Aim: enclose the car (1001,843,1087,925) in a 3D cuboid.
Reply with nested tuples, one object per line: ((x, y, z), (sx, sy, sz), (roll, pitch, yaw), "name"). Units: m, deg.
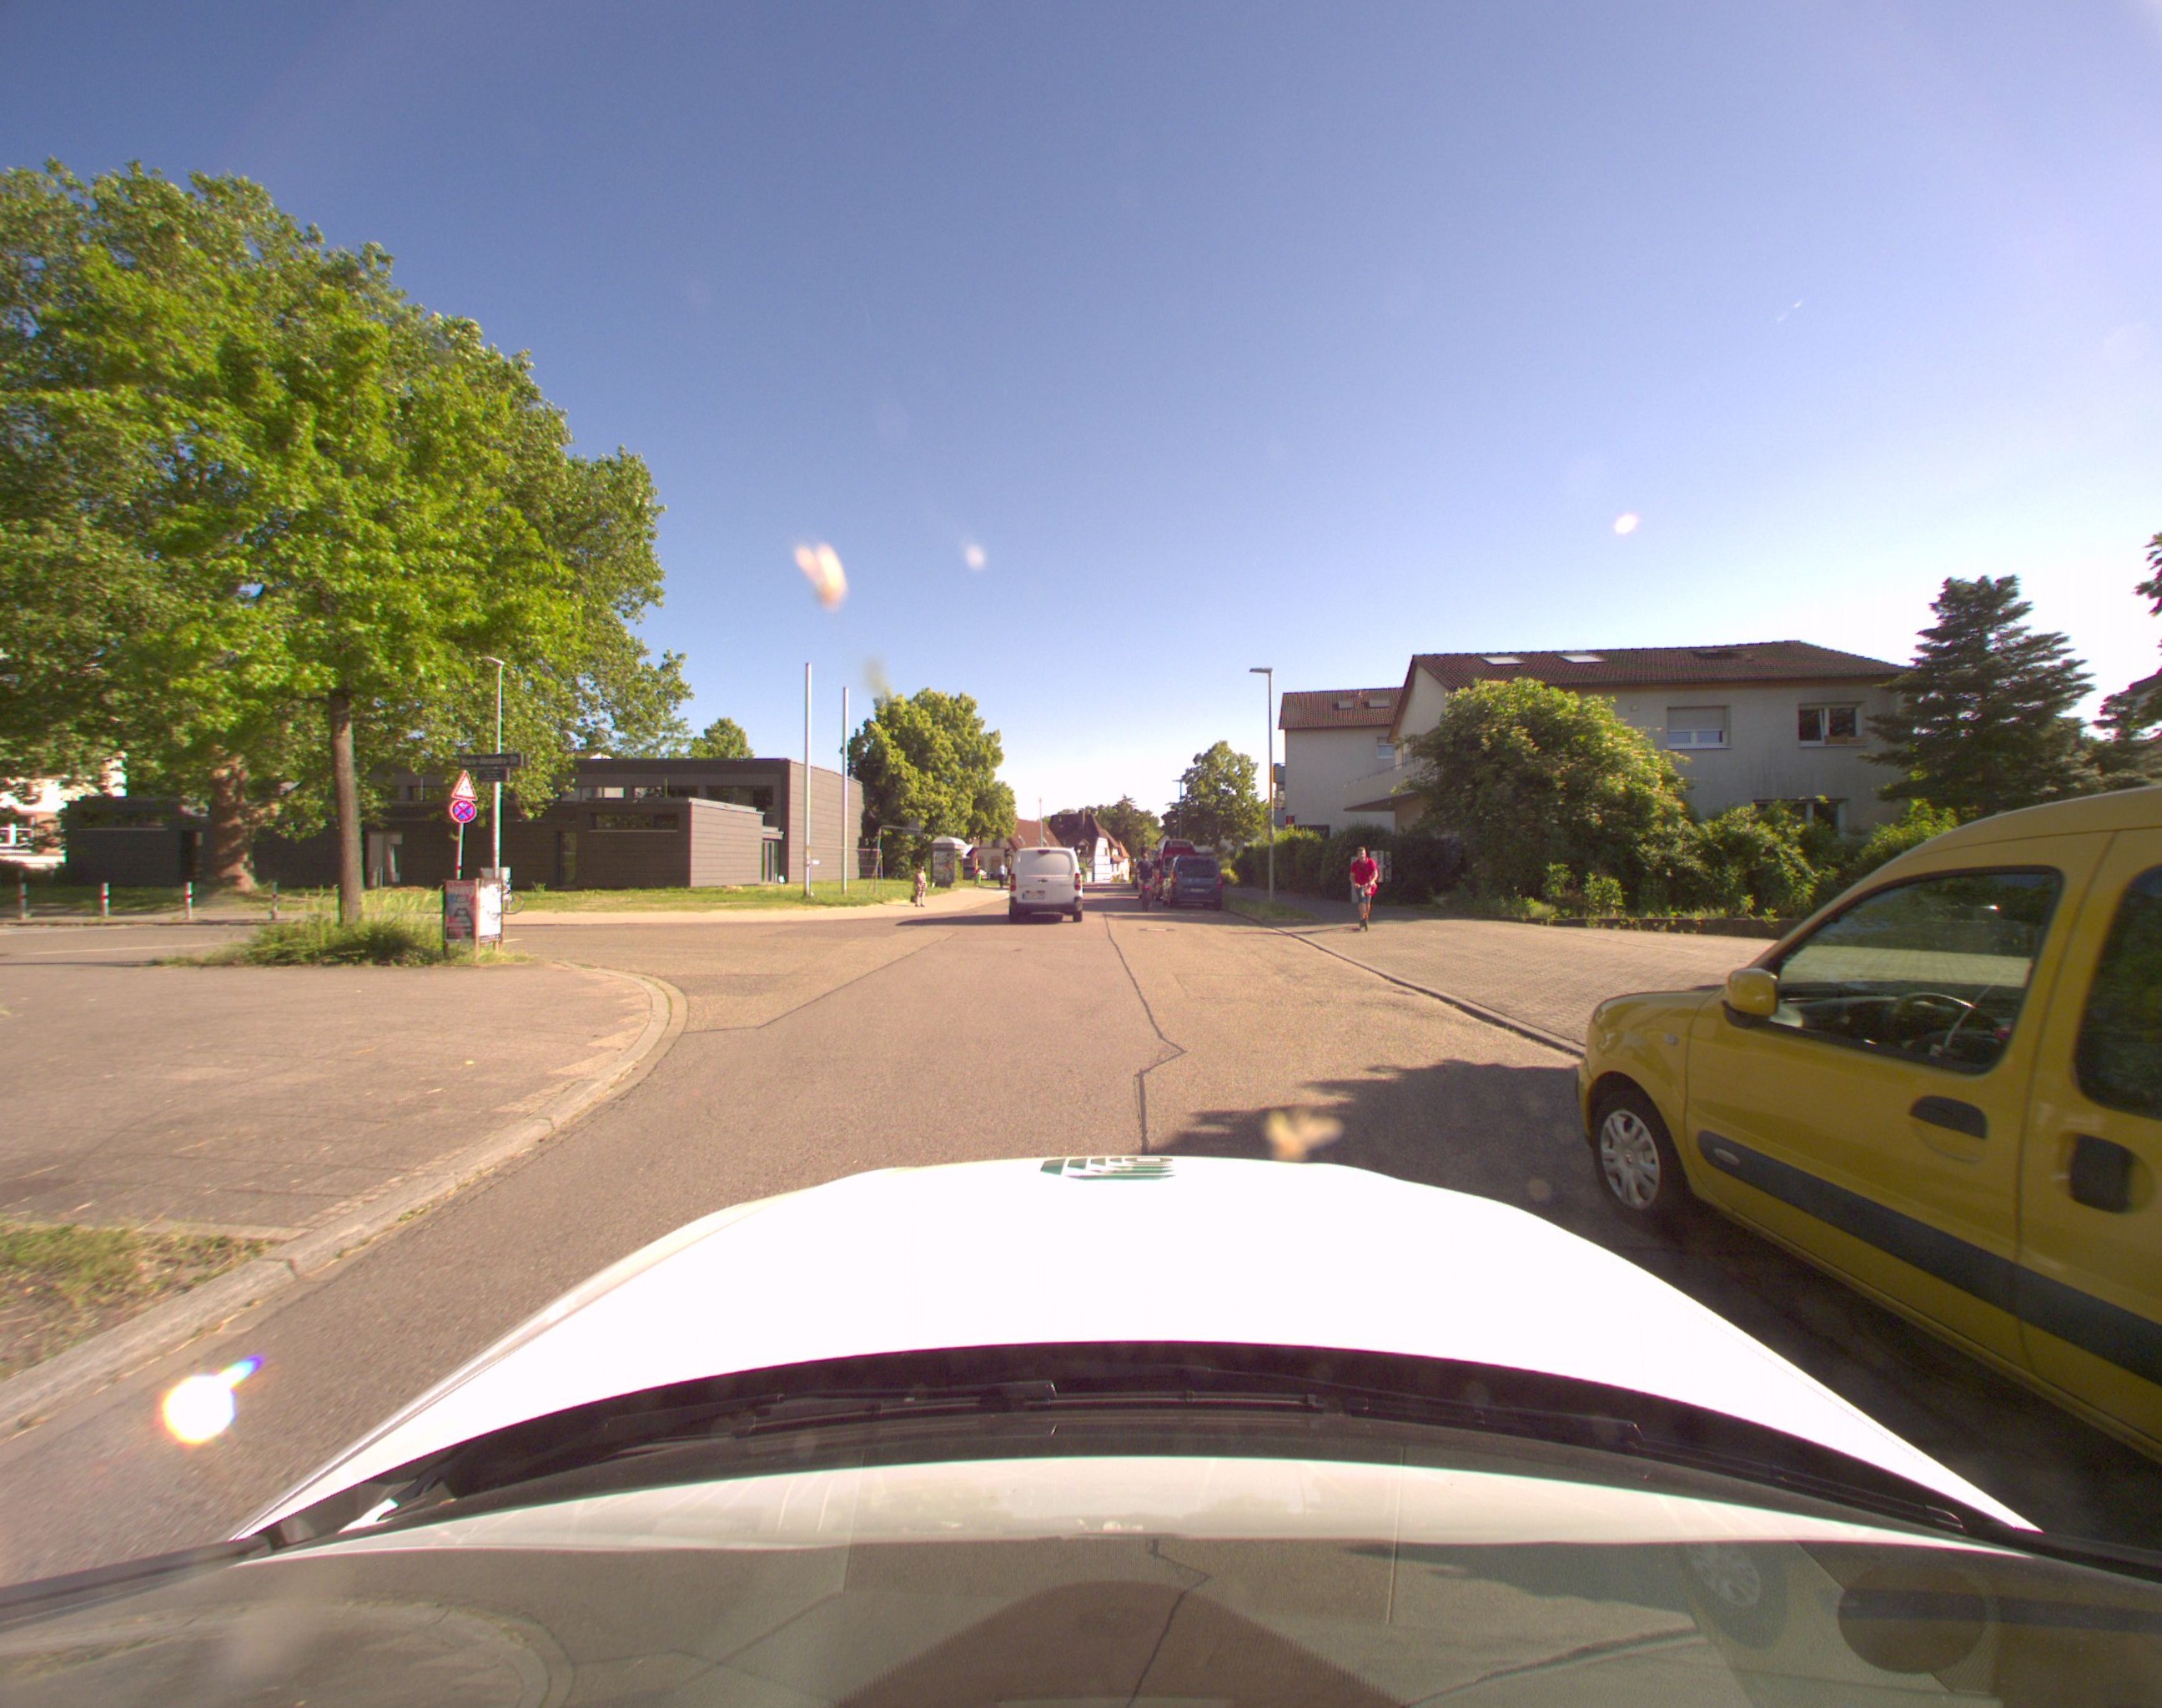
((-0.938, 0.721, 21.139), (1.988, 1.882, 4.285), (0, -1, -2), "car")

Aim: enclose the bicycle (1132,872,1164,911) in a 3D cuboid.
((2.095, 1.154, 25.711), (0.784, 1.138, 2.278), (0, -1, -1), "bicycle")

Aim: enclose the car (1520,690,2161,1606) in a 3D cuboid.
((3.060, 0.599, 2.239), (1.717, 1.837, 4.003), (0, -1, 3), "car")

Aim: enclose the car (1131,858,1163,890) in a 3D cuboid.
((4.404, 1.341, 55.045), (1.798, 2.069, 3.999), (2, -1, 0), "car")

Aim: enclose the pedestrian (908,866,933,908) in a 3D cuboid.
((-5.711, 1.161, 28.989), (0.505, 1.446, 0.643), (3, -1, 35), "pedestrian")

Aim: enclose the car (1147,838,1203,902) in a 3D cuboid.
((4.051, 0.704, 35.793), (1.860, 2.562, 4.767), (2, -1, 0), "car")

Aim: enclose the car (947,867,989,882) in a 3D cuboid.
((-11.734, 2.110, 84.838), (3.944, 1.429, 1.724), (0, -1, 19), "car")

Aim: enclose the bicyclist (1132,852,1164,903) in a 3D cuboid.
((2.098, 0.739, 25.746), (0.903, 1.584, 0.965), (1, -1, -2), "bicyclist")

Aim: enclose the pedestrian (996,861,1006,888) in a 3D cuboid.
((-5.362, 1.382, 54.752), (0.619, 1.805, 0.640), (0, -2, 0), "pedestrian")

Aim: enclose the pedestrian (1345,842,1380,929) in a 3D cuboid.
((6.078, 0.680, 17.611), (0.482, 1.831, 0.486), (-3, 0, 0), "pedestrian")

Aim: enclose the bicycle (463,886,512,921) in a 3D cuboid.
((-16.410, 1.358, 22.519), (1.025, 0.887, 0.434), (-2, 1, -43), "bicycle")

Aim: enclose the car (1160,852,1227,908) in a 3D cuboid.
((3.886, 0.901, 28.737), (1.798, 1.785, 3.999), (2, -1, 0), "car")
